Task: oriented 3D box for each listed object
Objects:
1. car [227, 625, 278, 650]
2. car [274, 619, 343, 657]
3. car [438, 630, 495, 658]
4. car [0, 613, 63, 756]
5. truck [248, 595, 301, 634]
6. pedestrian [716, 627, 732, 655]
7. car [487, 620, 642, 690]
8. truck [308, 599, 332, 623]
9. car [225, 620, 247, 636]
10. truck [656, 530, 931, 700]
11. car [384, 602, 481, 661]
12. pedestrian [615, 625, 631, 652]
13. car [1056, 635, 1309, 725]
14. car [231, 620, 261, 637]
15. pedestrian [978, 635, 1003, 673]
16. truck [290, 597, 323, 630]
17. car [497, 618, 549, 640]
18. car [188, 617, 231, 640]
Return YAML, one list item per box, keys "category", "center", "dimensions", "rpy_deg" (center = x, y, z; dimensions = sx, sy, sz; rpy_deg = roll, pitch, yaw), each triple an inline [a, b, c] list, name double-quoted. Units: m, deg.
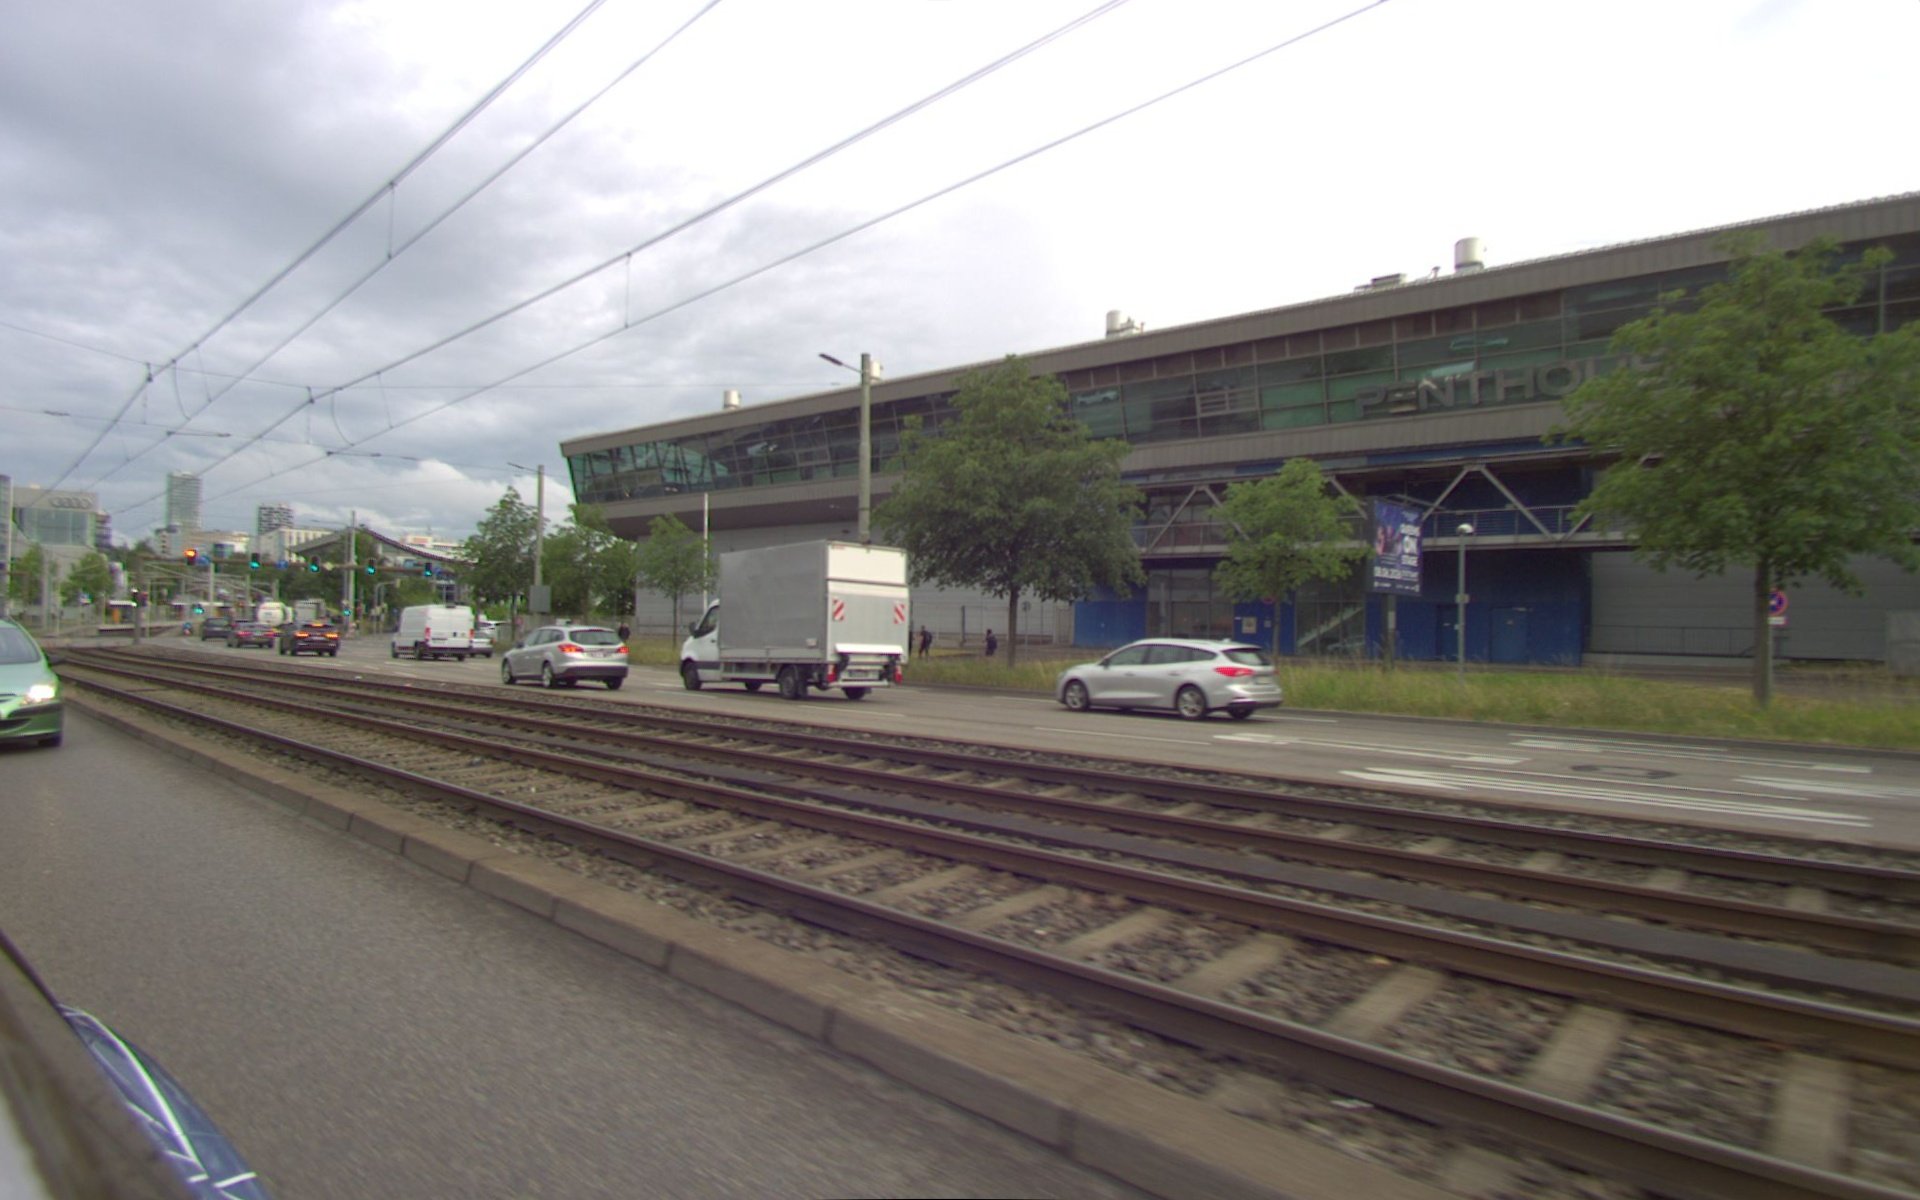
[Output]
- category: "car"
  center: [-42.697, 2.257, 61.053]
  dimensions: [1.923, 1.496, 5.001]
  rpy_deg: [2, -3, -42]
- category: "car"
  center: [-31.023, 1.810, 48.153]
  dimensions: [1.886, 1.669, 4.364]
  rpy_deg: [5, -5, -44]
- category: "car"
  center: [-26.237, 2.344, 53.721]
  dimensions: [1.726, 1.410, 4.006]
  rpy_deg: [3, -3, -41]
- category: "car"
  center: [-11.943, 0.935, 11.878]
  dimensions: [4.137, 1.509, 1.738]
  rpy_deg: [-1, 0, 43]
- category: "truck"
  center: [-70.756, 1.617, 104.331]
  dimensions: [4.025, 3.785, 10.878]
  rpy_deg: [2, -3, -36]
- category: "pedestrian"
  center: [-13.098, 2.270, 56.196]
  dimensions: [0.542, 1.509, 0.759]
  rpy_deg: [-1, 0, -44]
- category: "car"
  center: [-9.618, 1.318, 24.437]
  dimensions: [4.443, 1.510, 1.785]
  rpy_deg: [-2, -5, 45]
- category: "truck"
  center: [-118.546, 2.062, 187.615]
  dimensions: [3.330, 4.171, 7.652]
  rpy_deg: [2, -3, -30]
- category: "car"
  center: [-76.044, 2.952, 106.271]
  dimensions: [1.792, 1.586, 4.009]
  rpy_deg: [2, -3, -36]
- category: "truck"
  center: [-4.102, 0.454, 23.608]
  dimensions: [2.695, 3.383, 7.158]
  rpy_deg: [5, -5, -43]
- category: "car"
  center: [-24.731, 1.495, 47.275]
  dimensions: [2.403, 2.519, 6.556]
  rpy_deg: [4, -4, -41]
- category: "pedestrian"
  center: [-19.882, 2.254, 59.664]
  dimensions: [0.627, 1.575, 0.675]
  rpy_deg: [-1, 0, 43]
- category: "car"
  center: [4.108, 1.433, 19.224]
  dimensions: [1.875, 1.500, 4.427]
  rpy_deg: [3, -3, -43]
- category: "car"
  center: [-63.259, 2.566, 89.642]
  dimensions: [1.772, 1.457, 3.929]
  rpy_deg: [2, -3, -40]
- category: "pedestrian"
  center: [1.191, 2.099, 39.536]
  dimensions: [0.744, 1.450, 0.601]
  rpy_deg: [-1, 0, 39]
- category: "truck"
  center: [-95.777, 2.057, 148.429]
  dimensions: [3.213, 4.564, 7.114]
  rpy_deg: [2, -3, -27]
- category: "car"
  center: [-38.811, 2.594, 89.844]
  dimensions: [1.816, 1.839, 3.814]
  rpy_deg: [-2, -3, 44]
- category: "car"
  center: [-57.829, 2.213, 77.942]
  dimensions: [1.970, 1.745, 4.681]
  rpy_deg: [4, -4, -44]
